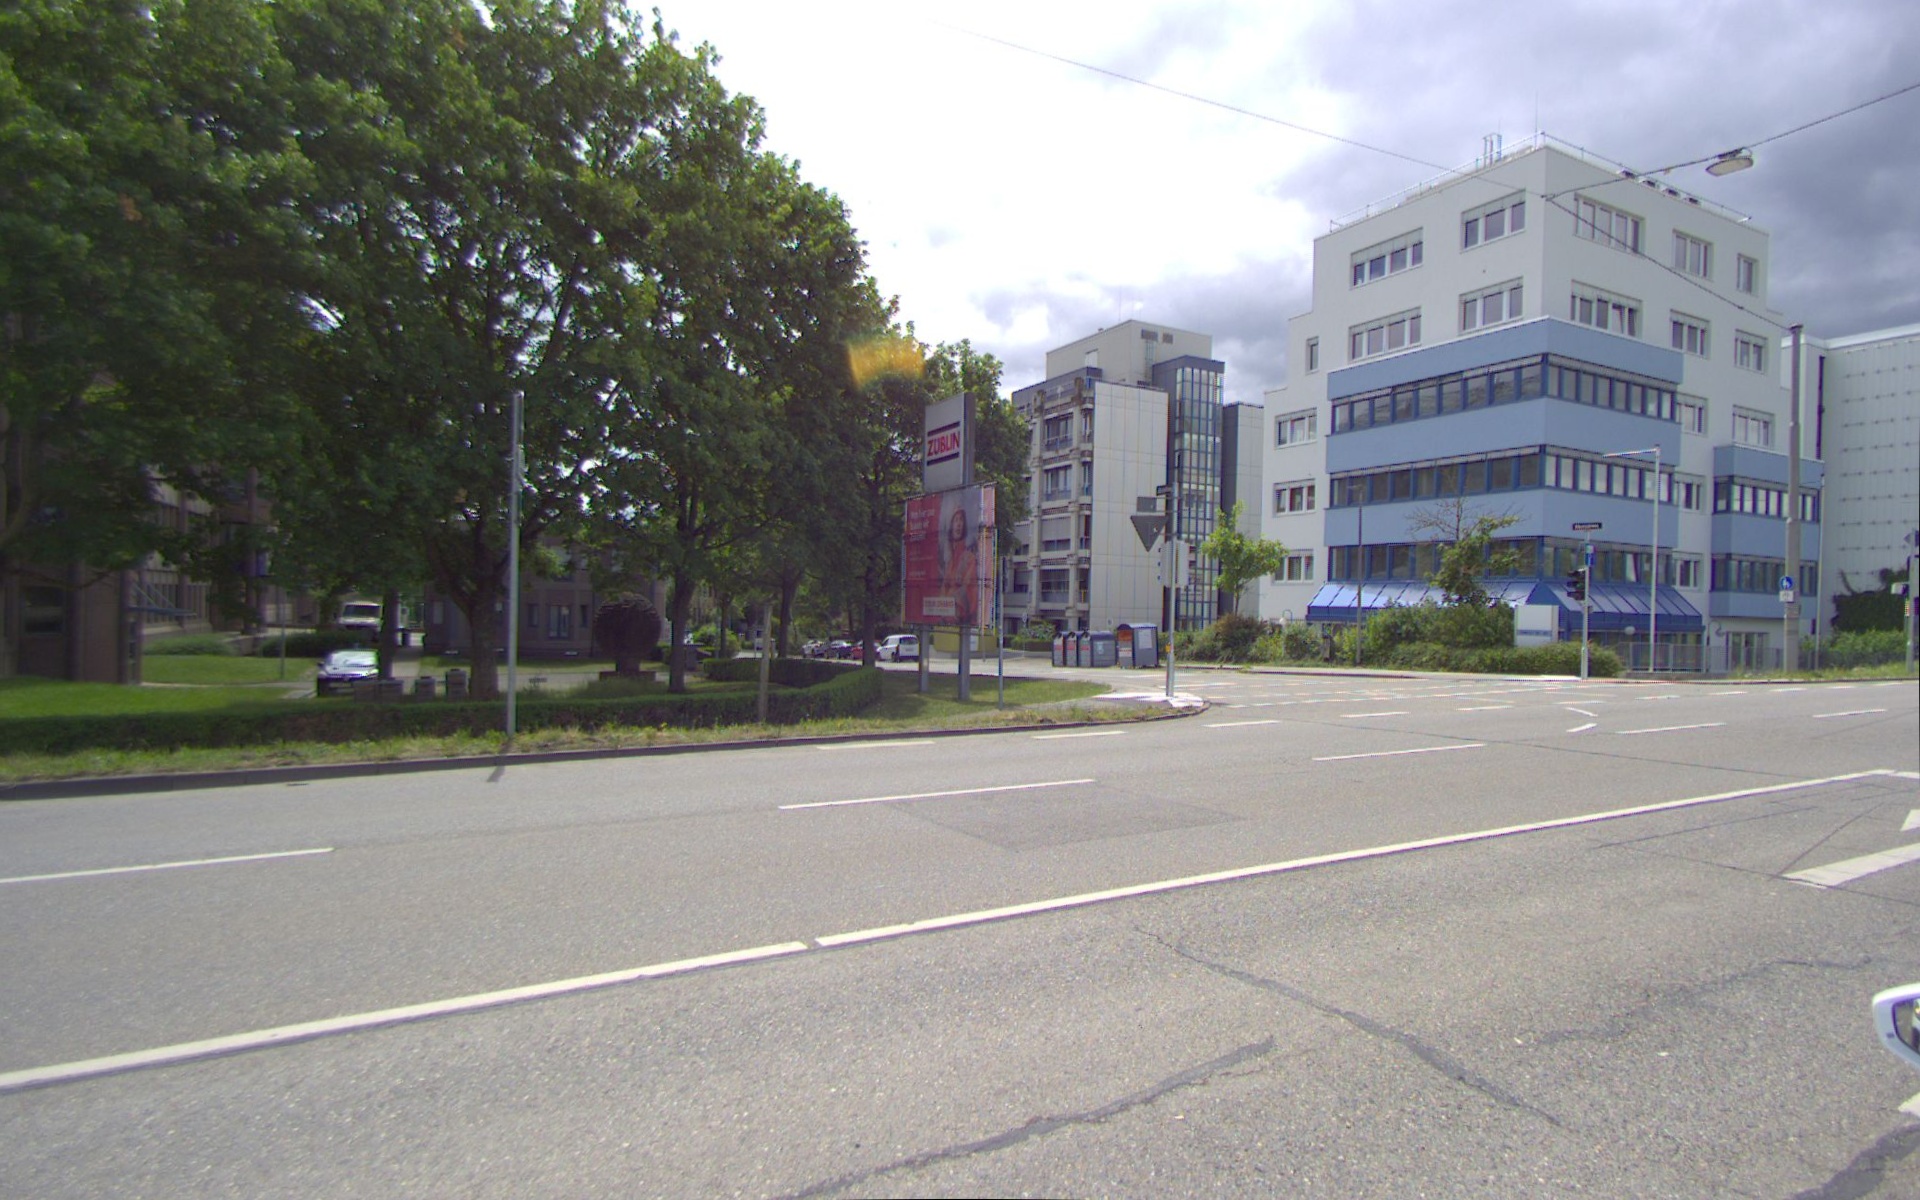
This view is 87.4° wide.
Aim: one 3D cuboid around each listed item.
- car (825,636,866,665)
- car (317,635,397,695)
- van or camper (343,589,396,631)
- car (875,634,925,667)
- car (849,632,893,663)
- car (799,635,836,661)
[{"bbox_3d":[-8.863,3.880,77.305,1.848,2.040,3.973,2,-1,-26],"label":"car"},{"bbox_3d":[-19.128,2.030,32.015,1.763,1.750,3.975,1,-3,-26],"label":"car"},{"bbox_3d":[-32.525,0.523,55.333,2.331,2.132,5.162,2,-1,-31],"label":"van or camper"},{"bbox_3d":[-4.054,3.398,67.786,1.974,2.006,3.974,2,-1,-26],"label":"car"},{"bbox_3d":[-6.507,3.418,72.783,1.868,2.040,3.974,2,-1,-26],"label":"car"},{"bbox_3d":[-11.788,3.953,83.103,1.875,1.919,3.973,2,-1,-26],"label":"car"}]
